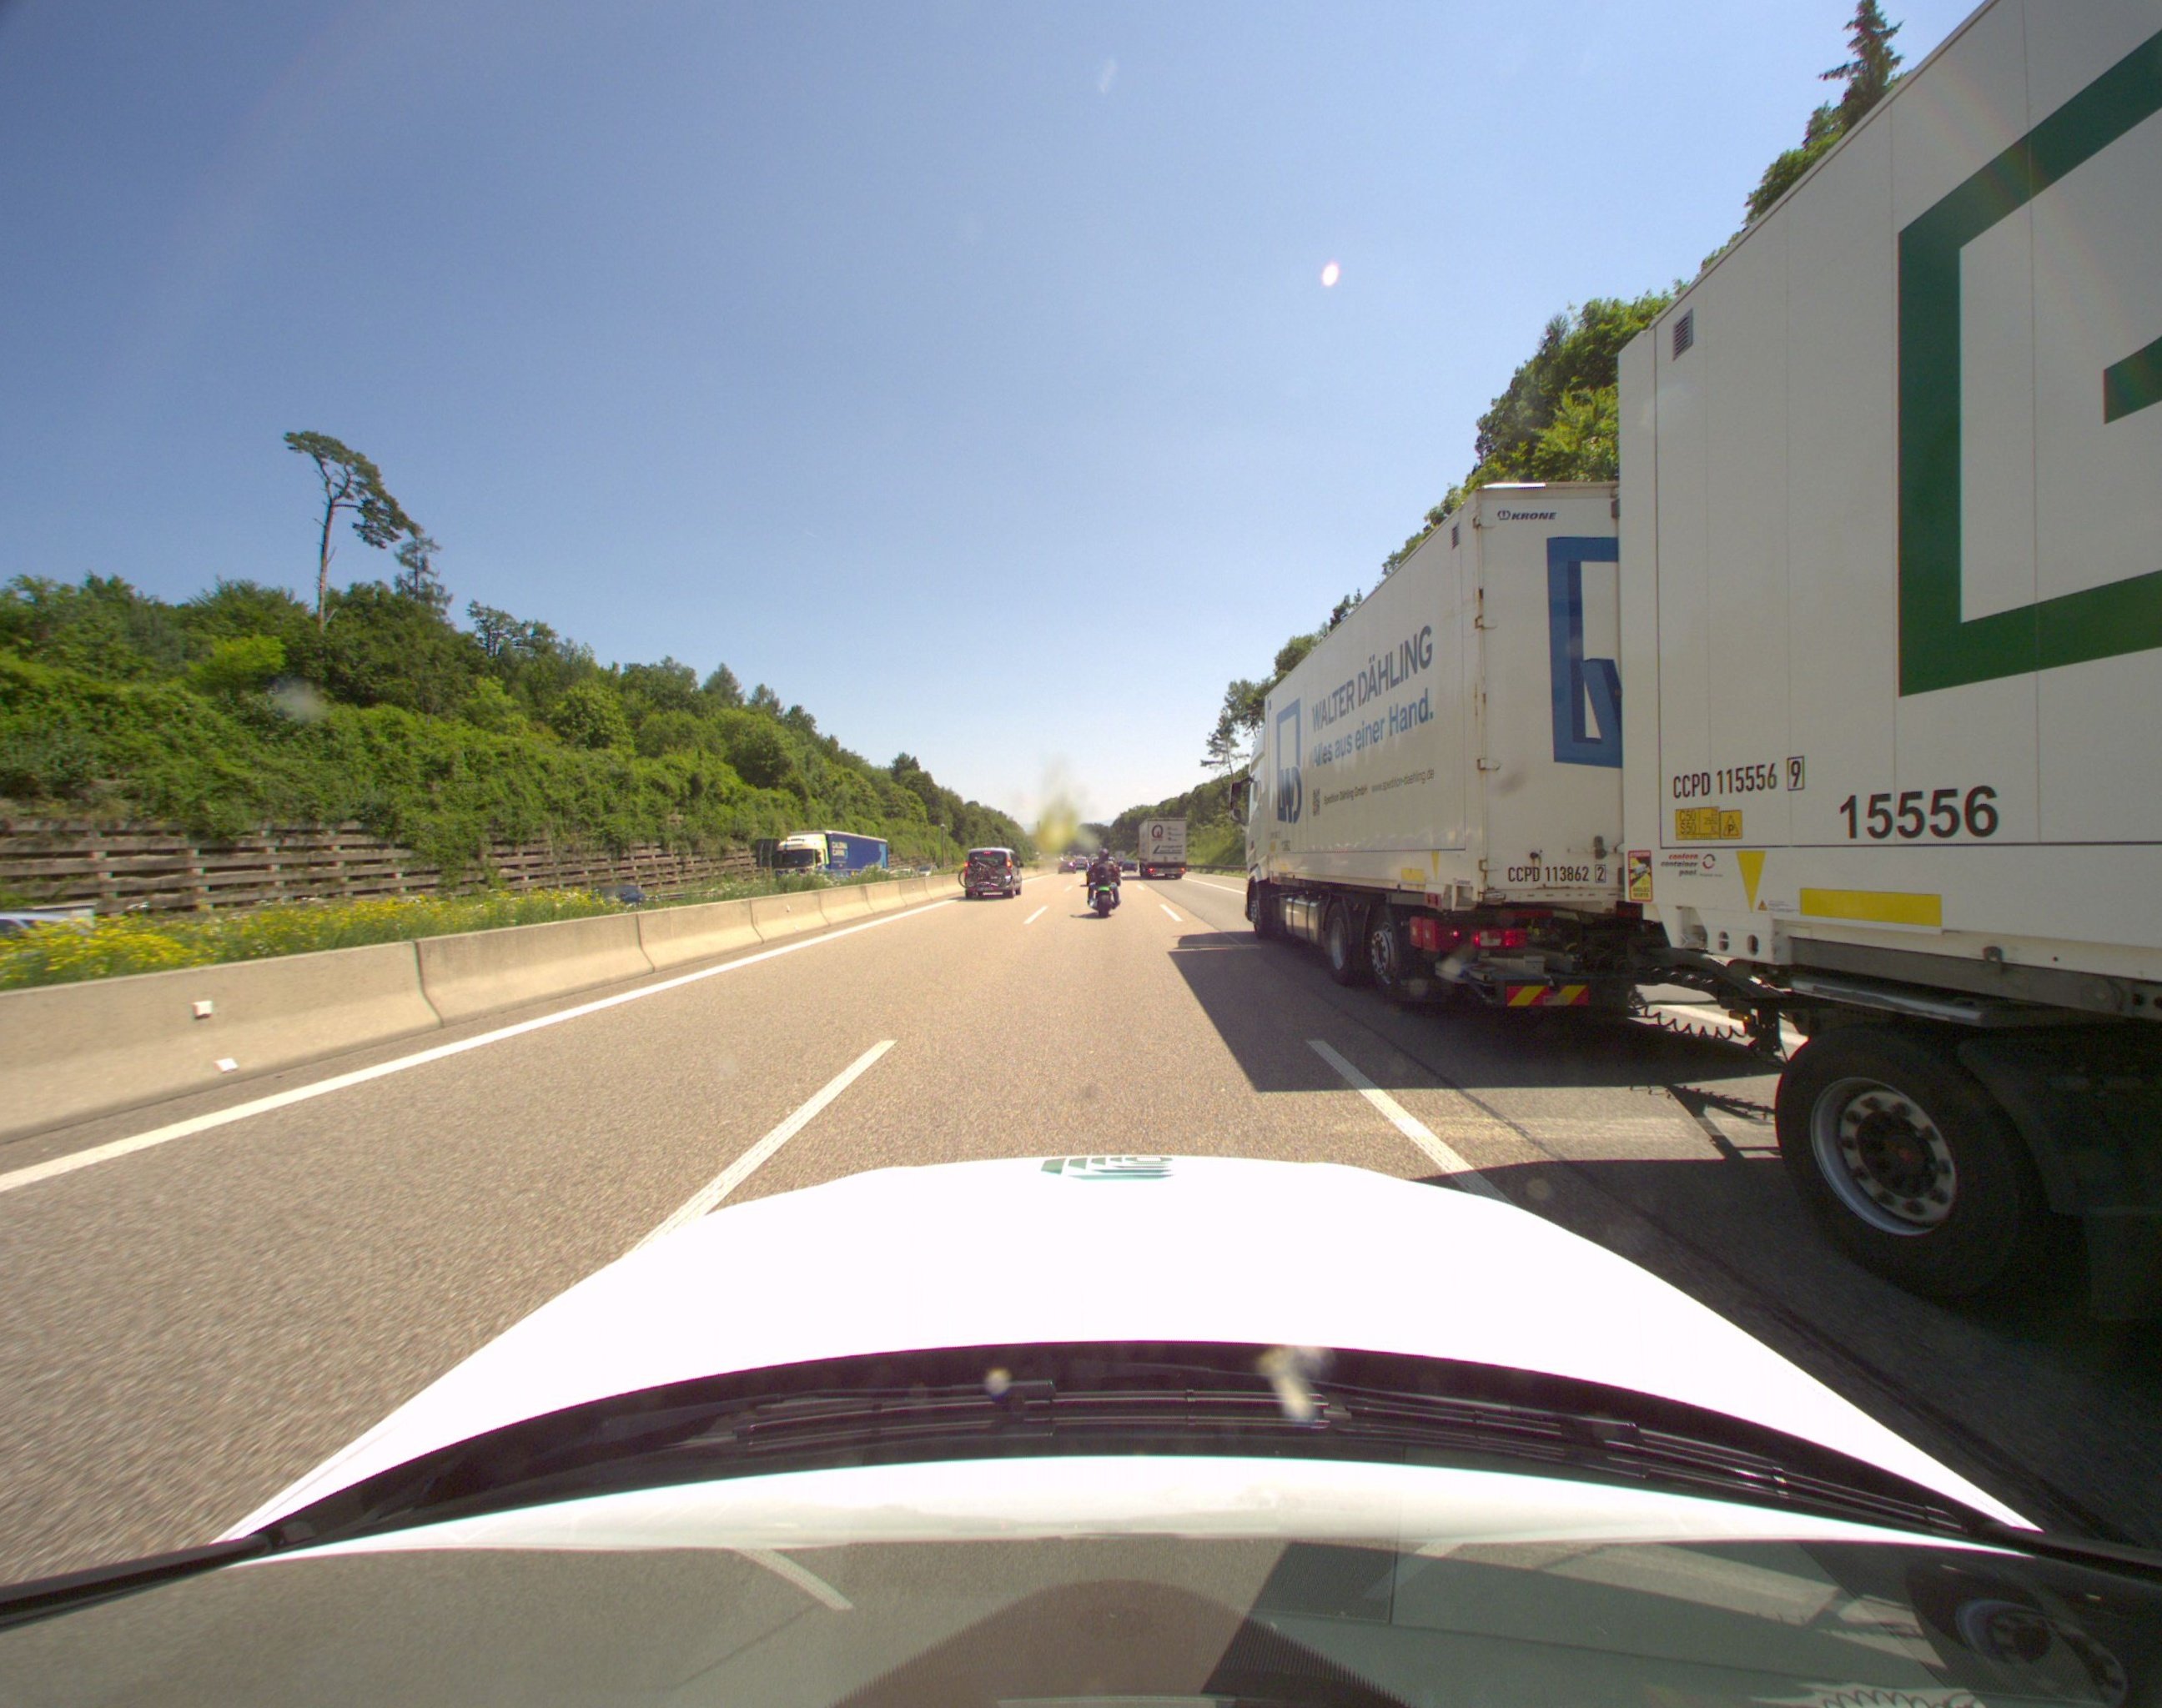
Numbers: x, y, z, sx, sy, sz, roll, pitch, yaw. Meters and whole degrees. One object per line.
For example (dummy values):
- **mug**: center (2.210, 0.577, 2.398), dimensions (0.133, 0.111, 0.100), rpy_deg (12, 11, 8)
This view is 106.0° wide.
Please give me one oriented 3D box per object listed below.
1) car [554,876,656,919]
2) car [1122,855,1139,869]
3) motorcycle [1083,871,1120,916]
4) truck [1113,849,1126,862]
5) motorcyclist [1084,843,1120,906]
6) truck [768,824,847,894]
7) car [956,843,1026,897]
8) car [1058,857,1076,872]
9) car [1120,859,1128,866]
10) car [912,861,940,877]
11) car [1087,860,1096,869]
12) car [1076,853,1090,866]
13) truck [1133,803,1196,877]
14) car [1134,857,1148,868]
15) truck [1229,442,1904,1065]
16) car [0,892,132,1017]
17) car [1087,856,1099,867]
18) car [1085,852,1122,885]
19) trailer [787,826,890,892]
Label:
- **car**: center (-21.012, 1.882, 36.165), dimensions (1.778, 1.526, 4.375), rpy_deg (-3, 1, 2)
- **car**: center (5.632, 0.890, 93.679), dimensions (1.824, 1.558, 4.121), rpy_deg (0, 1, 1)
- **motorcycle**: center (0.528, 0.946, 20.129), dimensions (0.859, 0.982, 2.132), rpy_deg (-1, 0, 2)
- **truck**: center (9.899, 0.284, 210.260), dimensions (3.056, 3.346, 9.656), rpy_deg (1, 0, 2)
- **motorcyclist**: center (0.520, 0.498, 20.130), dimensions (0.852, 1.515, 0.914), rpy_deg (-1, 0, 2)
- **truck**: center (-16.911, 0.288, 50.724), dimensions (2.670, 4.030, 5.933), rpy_deg (-1, 0, 1)
- **car**: center (-3.282, 0.560, 30.664), dimensions (1.891, 1.848, 5.484), rpy_deg (0, 0, 1)
- **car**: center (-1.475, 1.118, 87.550), dimensions (1.751, 1.543, 4.396), rpy_deg (0, 1, 1)
- **car**: center (9.913, 1.868, 187.753), dimensions (1.824, 1.558, 4.121), rpy_deg (0, 1, 1)
- **car**: center (-15.998, 1.550, 84.326), dimensions (1.651, 1.453, 4.925), rpy_deg (-1, 0, 3)
- **car**: center (2.268, 2.213, 171.316), dimensions (1.824, 1.810, 4.121), rpy_deg (0, 1, 1)
- **car**: center (0.276, 0.768, 113.845), dimensions (1.824, 1.810, 4.121), rpy_deg (0, 1, 1)
- **truck**: center (5.925, -0.971, 61.133), dimensions (3.371, 4.717, 17.715), rpy_deg (1, 0, 2)
- **car**: center (8.696, 1.179, 118.505), dimensions (1.824, 1.526, 4.028), rpy_deg (0, 1, 1)
- **truck**: center (4.150, -0.695, 10.652), dimensions (2.670, 4.059, 10.628), rpy_deg (0, 0, 1)
- **car**: center (-14.863, 1.384, 9.664), dimensions (1.891, 1.526, 4.375), rpy_deg (-3, 1, 2)
- **car**: center (1.996, 1.208, 133.853), dimensions (1.824, 1.810, 4.121), rpy_deg (0, 1, 1)
- **car**: center (1.170, 0.718, 42.827), dimensions (1.839, 1.557, 4.441), rpy_deg (0, 1, 1)
- **trailer**: center (-16.750, 0.247, 57.836), dimensions (2.670, 4.015, 14.192), rpy_deg (-1, 0, 1)
